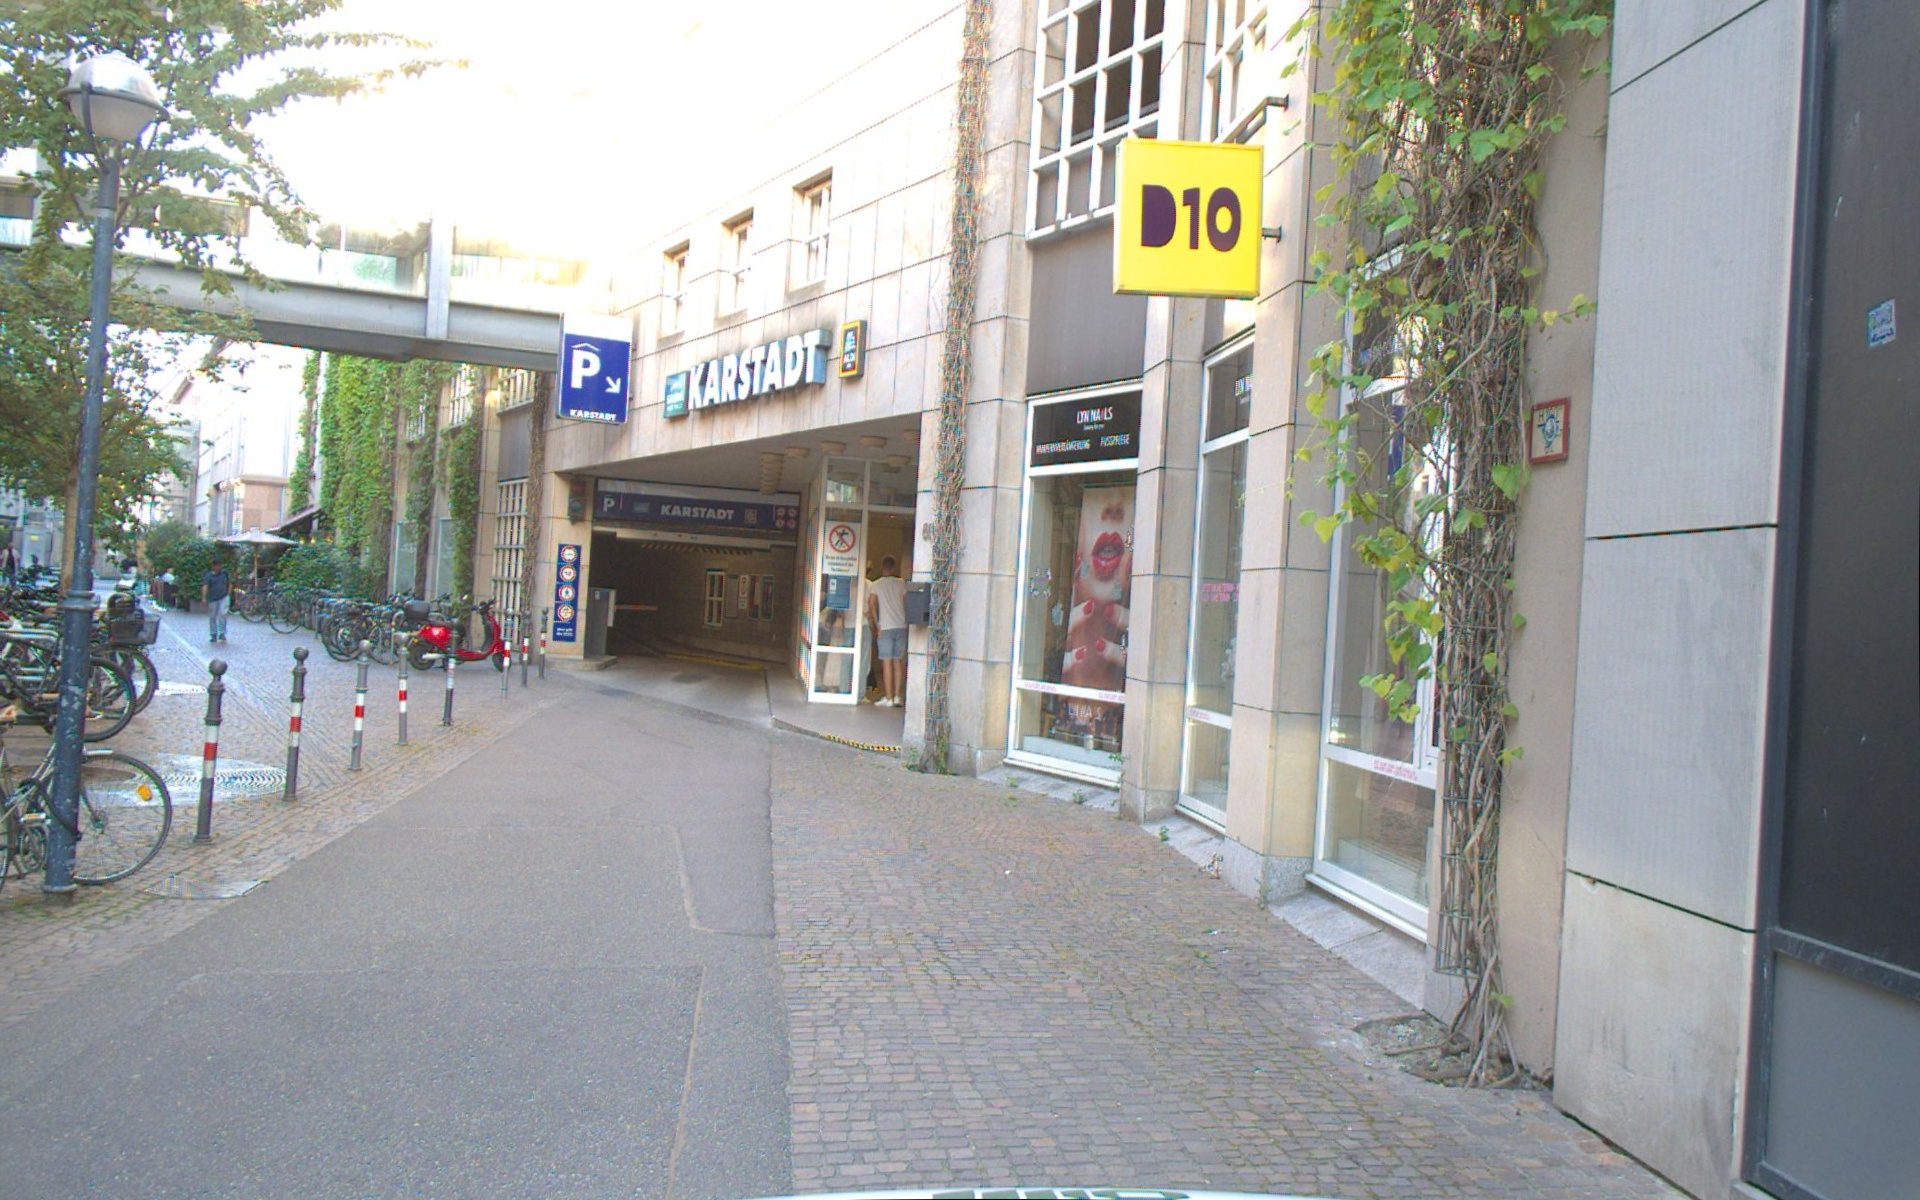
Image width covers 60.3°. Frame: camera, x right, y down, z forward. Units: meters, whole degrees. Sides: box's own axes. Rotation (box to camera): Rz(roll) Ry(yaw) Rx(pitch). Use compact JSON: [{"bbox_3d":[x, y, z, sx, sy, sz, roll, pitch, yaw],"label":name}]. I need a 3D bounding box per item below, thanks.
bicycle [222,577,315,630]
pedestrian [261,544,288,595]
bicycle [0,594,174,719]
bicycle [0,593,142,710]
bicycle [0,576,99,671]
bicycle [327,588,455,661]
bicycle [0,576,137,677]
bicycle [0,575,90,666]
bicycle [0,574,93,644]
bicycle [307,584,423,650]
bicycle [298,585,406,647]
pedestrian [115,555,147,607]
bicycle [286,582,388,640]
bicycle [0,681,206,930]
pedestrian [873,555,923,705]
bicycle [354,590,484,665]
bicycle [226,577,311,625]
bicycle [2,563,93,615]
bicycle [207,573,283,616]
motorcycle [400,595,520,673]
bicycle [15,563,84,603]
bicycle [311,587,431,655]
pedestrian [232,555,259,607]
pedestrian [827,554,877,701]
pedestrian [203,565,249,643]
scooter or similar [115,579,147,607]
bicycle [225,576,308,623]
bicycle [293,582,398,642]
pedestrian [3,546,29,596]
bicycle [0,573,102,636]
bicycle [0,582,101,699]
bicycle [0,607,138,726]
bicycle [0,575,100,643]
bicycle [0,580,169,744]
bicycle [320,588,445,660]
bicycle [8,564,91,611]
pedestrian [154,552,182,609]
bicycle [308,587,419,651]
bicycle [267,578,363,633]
[{"bbox_3d":[-16.338,0.075,39.095,1.970,1.203,0.688,1,1,-27],"label":"bicycle"},{"bbox_3d":[-25.036,-1.108,60.433,0.766,1.836,0.760,3,0,-29],"label":"pedestrian"},{"bbox_3d":[-8.609,0.536,15.839,1.891,1.121,0.690,3,0,-28],"label":"bicycle"},{"bbox_3d":[-9.469,0.517,16.918,1.888,1.121,0.691,3,0,-25],"label":"bicycle"},{"bbox_3d":[-12.554,0.298,21.950,1.888,1.203,0.691,3,0,-25],"label":"bicycle"},{"bbox_3d":[-9.692,0.421,28.183,1.970,1.203,0.690,1,1,-27],"label":"bicycle"},{"bbox_3d":[-11.683,0.335,21.247,1.888,1.203,0.691,3,0,-25],"label":"bicycle"},{"bbox_3d":[-13.146,0.263,22.843,1.888,1.203,0.691,3,0,-25],"label":"bicycle"},{"bbox_3d":[-17.245,0.157,30.744,1.888,1.203,0.691,3,0,-25],"label":"bicycle"},{"bbox_3d":[-11.314,0.331,31.459,1.970,1.203,0.796,1,1,-27],"label":"bicycle"},{"bbox_3d":[-12.188,0.329,33.174,1.970,1.203,0.688,1,1,-27],"label":"bicycle"},{"bbox_3d":[-27.616,-0.644,55.084,0.881,1.668,0.903,3,0,-29],"label":"pedestrian"},{"bbox_3d":[-13.337,0.242,35.397,1.970,1.203,0.688,1,1,-27],"label":"bicycle"},{"bbox_3d":[-4.252,0.914,7.684,0.494,0.983,1.696,2,0,8],"label":"bicycle"},{"bbox_3d":[-0.797,0.381,21.365,0.531,1.894,0.408,3,0,-1],"label":"pedestrian"},{"bbox_3d":[-8.962,0.461,27.416,1.970,1.203,0.690,1,1,-27],"label":"bicycle"},{"bbox_3d":[-17.924,0.019,42.861,1.970,1.203,0.688,1,1,-27],"label":"bicycle"},{"bbox_3d":[-22.909,-0.268,41.574,1.888,1.203,0.691,3,0,-25],"label":"bicycle"},{"bbox_3d":[-20.675,-0.162,47.827,1.970,1.203,0.688,1,1,-27],"label":"bicycle"},{"bbox_3d":[-7.817,0.539,25.884,1.723,1.175,0.590,1,0,-25],"label":"motorcycle"},{"bbox_3d":[-29.907,-0.555,54.363,1.888,1.203,0.691,3,0,-25],"label":"bicycle"},{"bbox_3d":[-10.710,0.385,30.075,1.970,1.203,0.796,1,1,-27],"label":"bicycle"},{"bbox_3d":[-25.972,-0.691,60.114,0.766,1.836,0.760,3,0,-29],"label":"pedestrian"},{"bbox_3d":[-1.397,0.352,21.523,0.531,1.878,0.408,3,0,-1],"label":"pedestrian"},{"bbox_3d":[-14.872,0.081,33.509,0.739,1.536,0.632,3,0,-29],"label":"pedestrian"},{"bbox_3d":[-27.205,-0.231,54.276,0.881,0.858,0.903,3,0,-29],"label":"scooter or similar"},{"bbox_3d":[-18.290,-0.013,43.627,1.970,1.203,0.688,1,1,-27],"label":"bicycle"},{"bbox_3d":[-12.772,0.246,34.392,1.970,1.203,0.688,1,1,-27],"label":"bicycle"},{"bbox_3d":[-35.280,-1.072,61.811,0.766,1.836,0.628,3,0,-30],"label":"pedestrian"},{"bbox_3d":[-18.862,0.089,34.198,1.888,1.203,0.691,3,0,-25],"label":"bicycle"},{"bbox_3d":[-10.323,0.415,17.709,1.888,1.203,0.691,3,0,-25],"label":"bicycle"},{"bbox_3d":[-8.500,0.588,14.927,1.891,1.011,0.690,3,0,-28],"label":"bicycle"},{"bbox_3d":[-17.583,0.173,31.670,1.888,1.203,0.691,3,0,-25],"label":"bicycle"},{"bbox_3d":[-7.601,0.495,13.625,1.890,1.283,0.801,3,0,-28],"label":"bicycle"},{"bbox_3d":[-10.131,0.422,29.012,1.970,1.203,0.796,1,1,-27],"label":"bicycle"},{"bbox_3d":[-24.977,-0.346,45.391,1.888,1.203,0.691,3,0,-25],"label":"bicycle"},{"bbox_3d":[-26.479,-0.653,55.306,0.756,1.836,0.770,3,0,-29],"label":"pedestrian"},{"bbox_3d":[-11.688,0.370,32.404,1.970,1.203,0.688,1,1,-27],"label":"bicycle"},{"bbox_3d":[-14.652,0.134,37.597,1.970,1.203,0.688,1,1,-27],"label":"bicycle"}]
